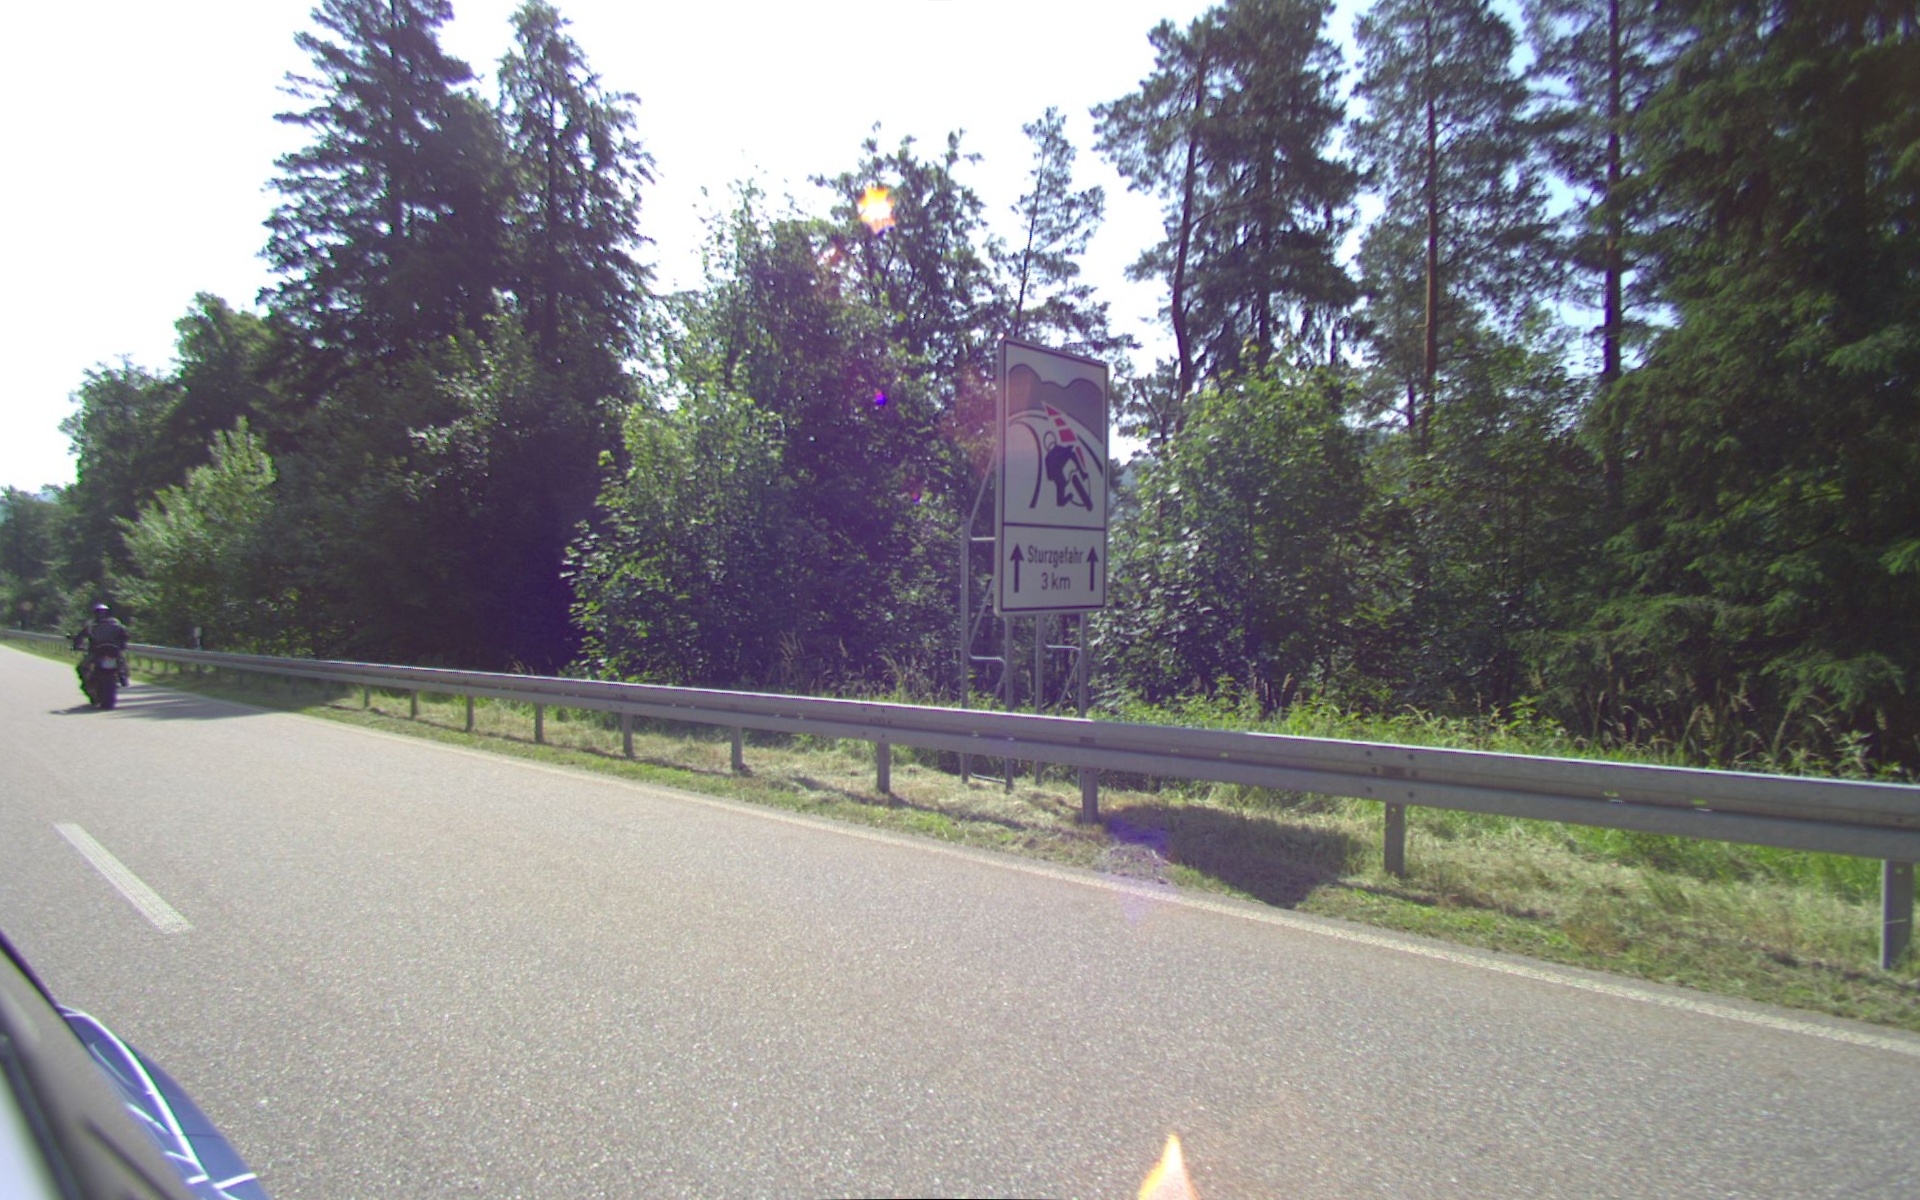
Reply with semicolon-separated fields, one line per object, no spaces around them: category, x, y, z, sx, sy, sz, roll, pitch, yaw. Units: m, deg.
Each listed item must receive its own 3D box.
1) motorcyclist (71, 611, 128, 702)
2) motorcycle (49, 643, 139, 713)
motorcyclist;-14.857;0.956;17.466;0.934;1.524;0.651;-2;-2;44
motorcycle;-14.867;1.301;17.356;1.963;1.079;0.973;-1;-1;44
